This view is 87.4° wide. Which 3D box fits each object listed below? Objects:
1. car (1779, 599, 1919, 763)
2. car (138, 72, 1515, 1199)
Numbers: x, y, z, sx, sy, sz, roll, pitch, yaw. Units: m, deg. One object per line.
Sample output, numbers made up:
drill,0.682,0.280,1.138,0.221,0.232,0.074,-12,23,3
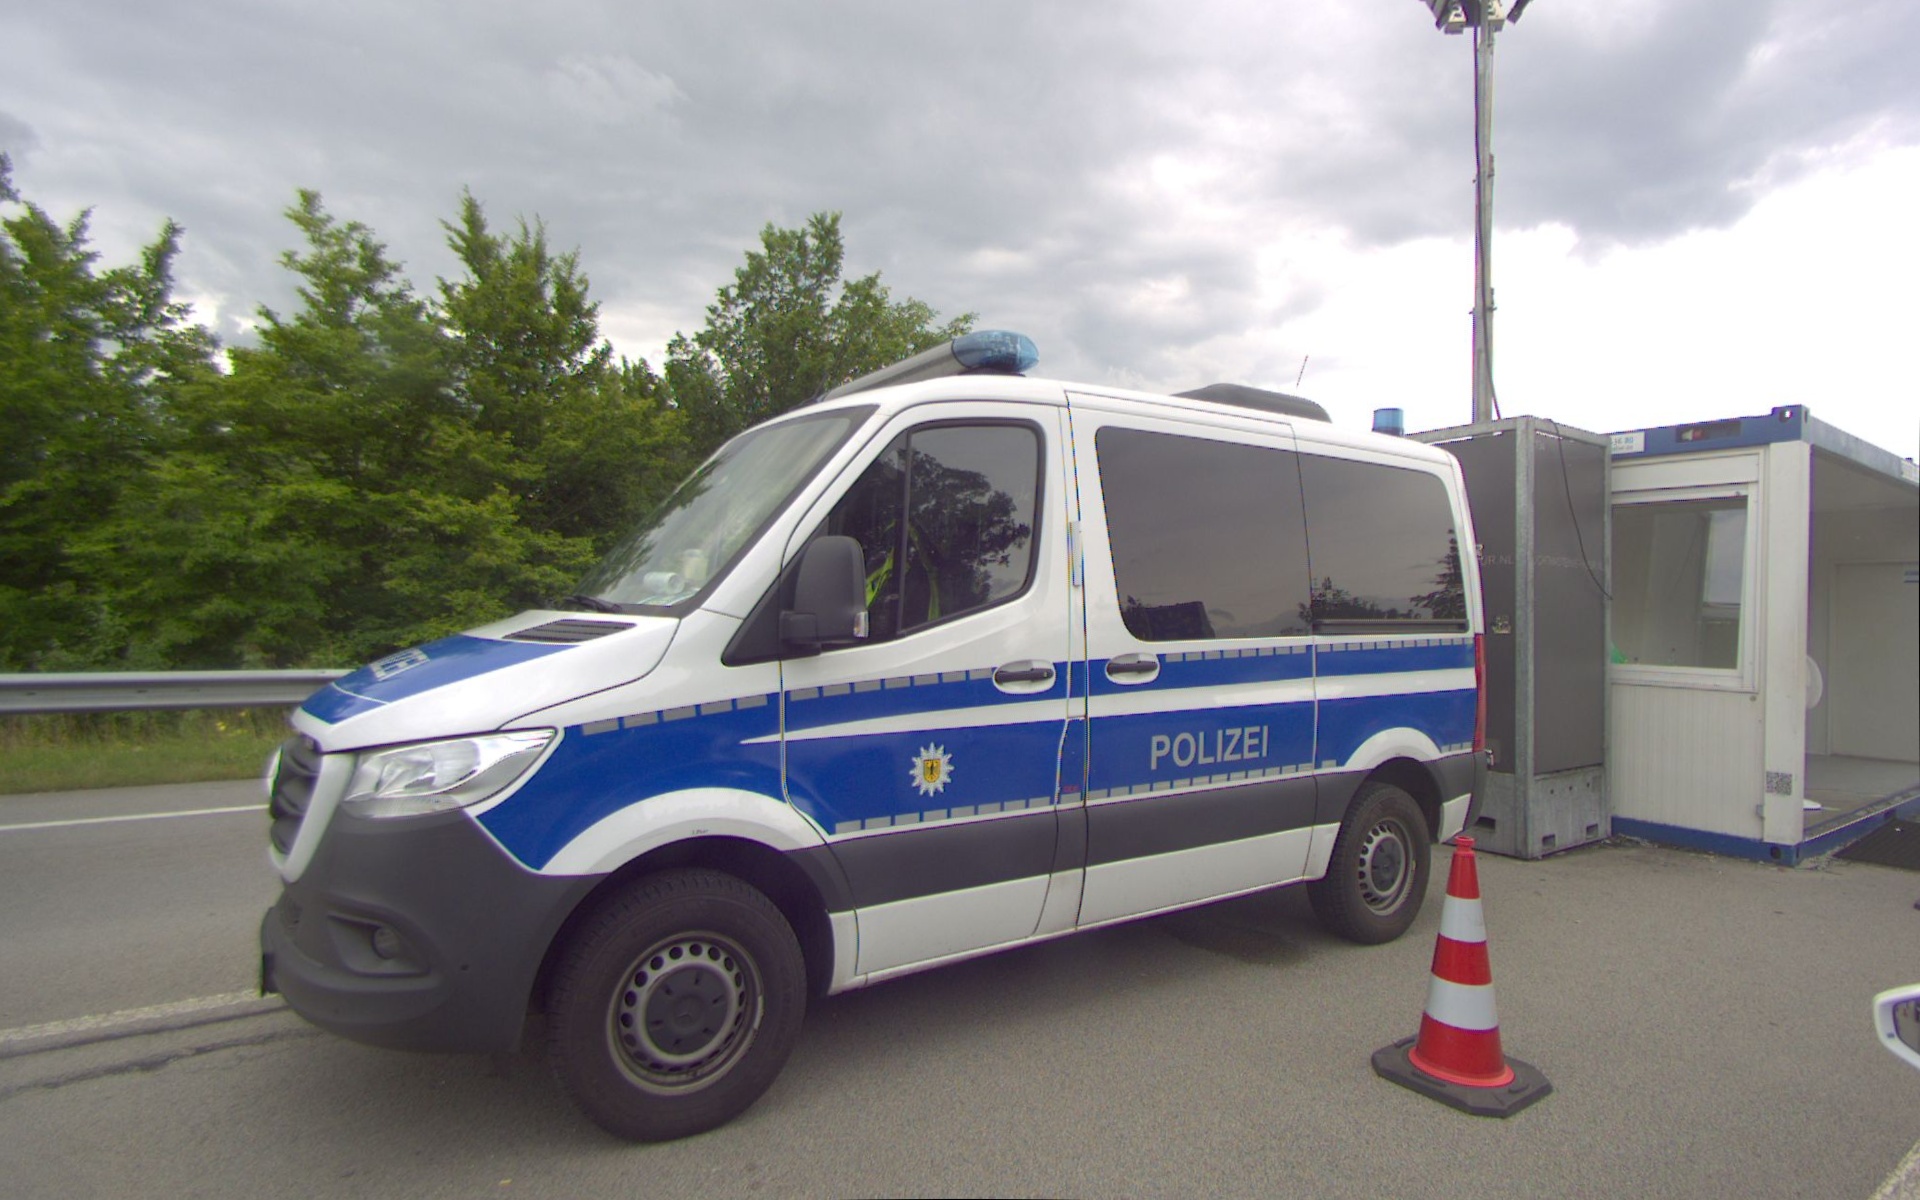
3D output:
car,11.843,0.921,12.225,3.967,1.767,1.857,1,0,-34
car,-0.010,0.238,4.325,5.224,2.496,2.017,1,0,-34
